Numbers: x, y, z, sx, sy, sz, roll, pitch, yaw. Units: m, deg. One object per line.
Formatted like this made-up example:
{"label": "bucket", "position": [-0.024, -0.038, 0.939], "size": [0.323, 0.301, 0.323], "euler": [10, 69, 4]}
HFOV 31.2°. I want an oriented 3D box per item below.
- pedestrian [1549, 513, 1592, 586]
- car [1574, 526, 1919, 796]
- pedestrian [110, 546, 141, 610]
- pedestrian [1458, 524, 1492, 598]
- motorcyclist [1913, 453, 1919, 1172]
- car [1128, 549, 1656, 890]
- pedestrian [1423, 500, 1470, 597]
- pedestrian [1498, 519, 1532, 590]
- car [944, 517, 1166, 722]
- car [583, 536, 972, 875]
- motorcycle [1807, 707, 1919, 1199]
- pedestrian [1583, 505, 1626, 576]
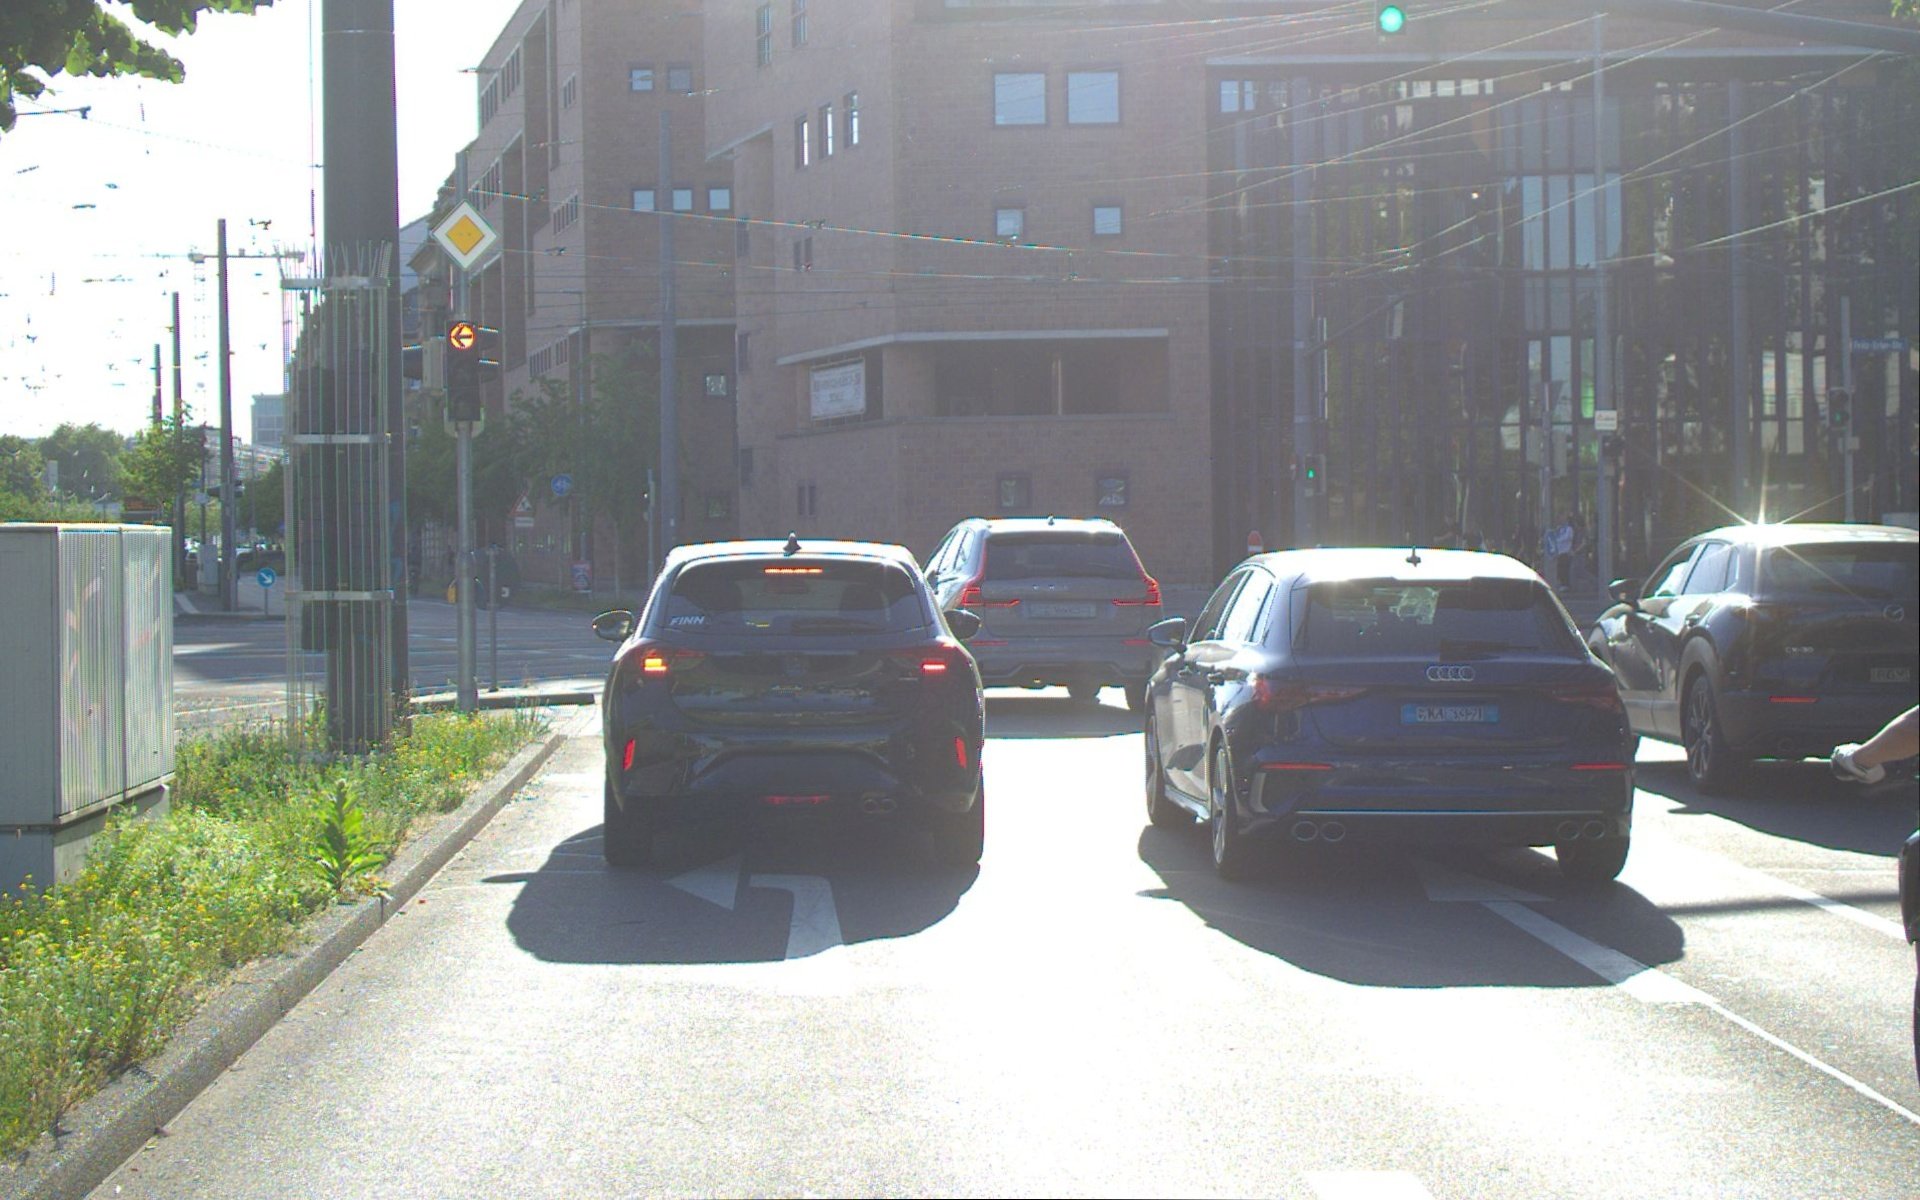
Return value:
{"label": "pedestrian", "position": [13.752, -1.138, 77.505], "size": [0.900, 1.611, 0.560], "euler": [-1, 1, 7]}
{"label": "car", "position": [4.983, 0.289, 20.601], "size": [1.807, 1.452, 4.000], "euler": [0, 1, -1]}
{"label": "pedestrian", "position": [-21.745, -0.572, 89.578], "size": [0.742, 1.634, 0.768], "euler": [-1, 1, -15]}
{"label": "pedestrian", "position": [10.012, -0.771, 66.845], "size": [0.529, 1.425, 0.598], "euler": [-1, 1, -2]}
{"label": "motorcyclist", "position": [2.385, 0.460, 6.772], "size": [0.745, 1.525, 1.021], "euler": [-1, 1, 2]}
{"label": "car", "position": [1.857, 0.455, 15.968], "size": [1.737, 1.345, 4.001], "euler": [-1, 1, -3]}
{"label": "pedestrian", "position": [8.823, -0.934, 62.375], "size": [0.707, 1.753, 0.560], "euler": [0, 1, 24]}
{"label": "pedestrian", "position": [12.852, -1.057, 79.664], "size": [0.738, 1.611, 0.560], "euler": [-1, 1, 7]}
{"label": "car", "position": [0.764, 0.119, 29.947], "size": [1.737, 1.645, 4.000], "euler": [-1, 1, -1]}
{"label": "car", "position": [-0.813, 0.413, 16.719], "size": [1.649, 1.428, 4.000], "euler": [-1, 1, -1]}
{"label": "motorcycle", "position": [2.386, 0.831, 7.167], "size": [0.775, 1.111, 1.969], "euler": [-1, 1, 1]}
{"label": "pedestrian", "position": [14.735, -1.368, 78.620], "size": [0.900, 1.611, 0.560], "euler": [-1, 1, 7]}
